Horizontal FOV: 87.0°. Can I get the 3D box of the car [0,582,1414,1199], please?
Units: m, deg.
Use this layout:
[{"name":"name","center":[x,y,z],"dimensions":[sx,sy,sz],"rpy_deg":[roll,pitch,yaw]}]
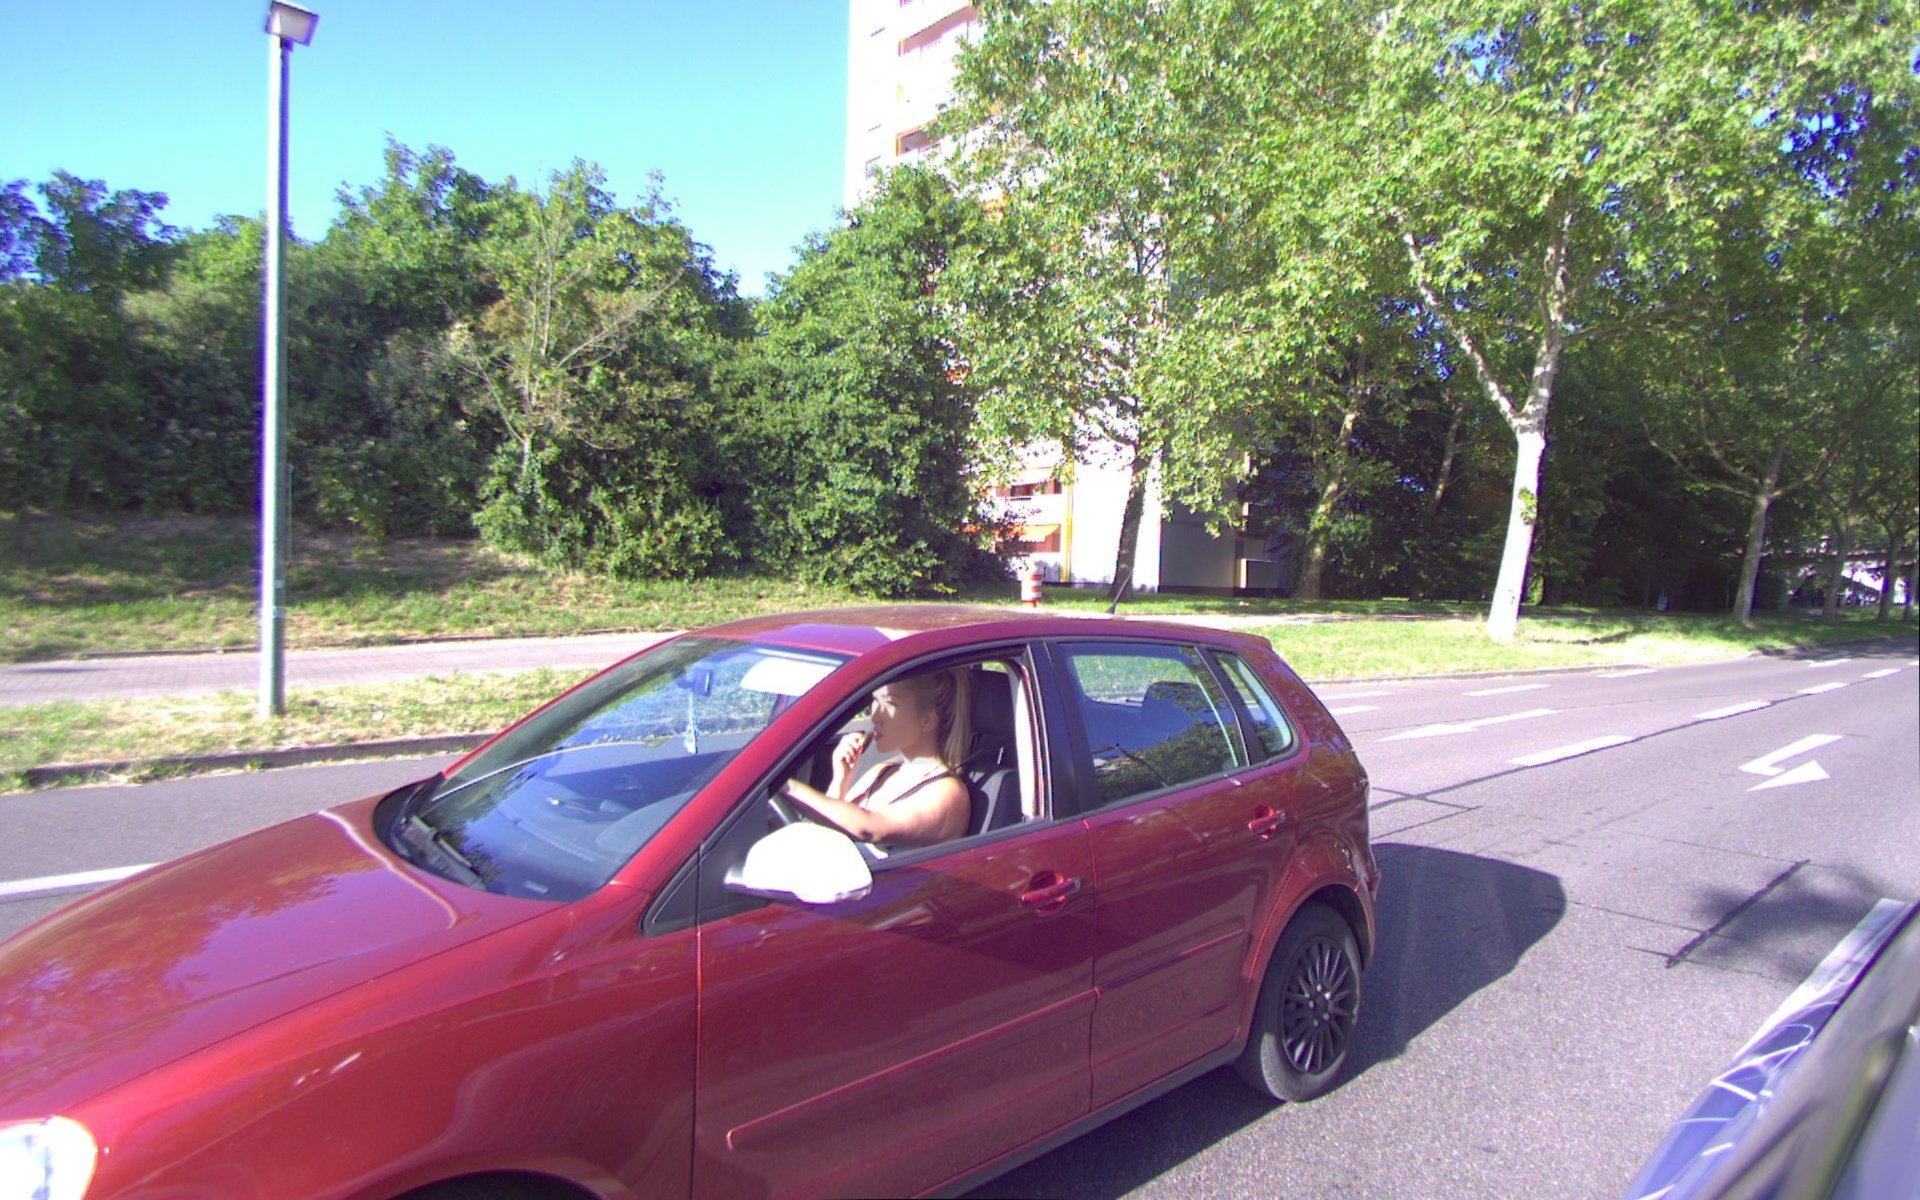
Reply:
[{"name":"car","center":[-0.459,0.692,2.762],"dimensions":[3.627,1.434,1.626],"rpy_deg":[0,1,-39]}]
